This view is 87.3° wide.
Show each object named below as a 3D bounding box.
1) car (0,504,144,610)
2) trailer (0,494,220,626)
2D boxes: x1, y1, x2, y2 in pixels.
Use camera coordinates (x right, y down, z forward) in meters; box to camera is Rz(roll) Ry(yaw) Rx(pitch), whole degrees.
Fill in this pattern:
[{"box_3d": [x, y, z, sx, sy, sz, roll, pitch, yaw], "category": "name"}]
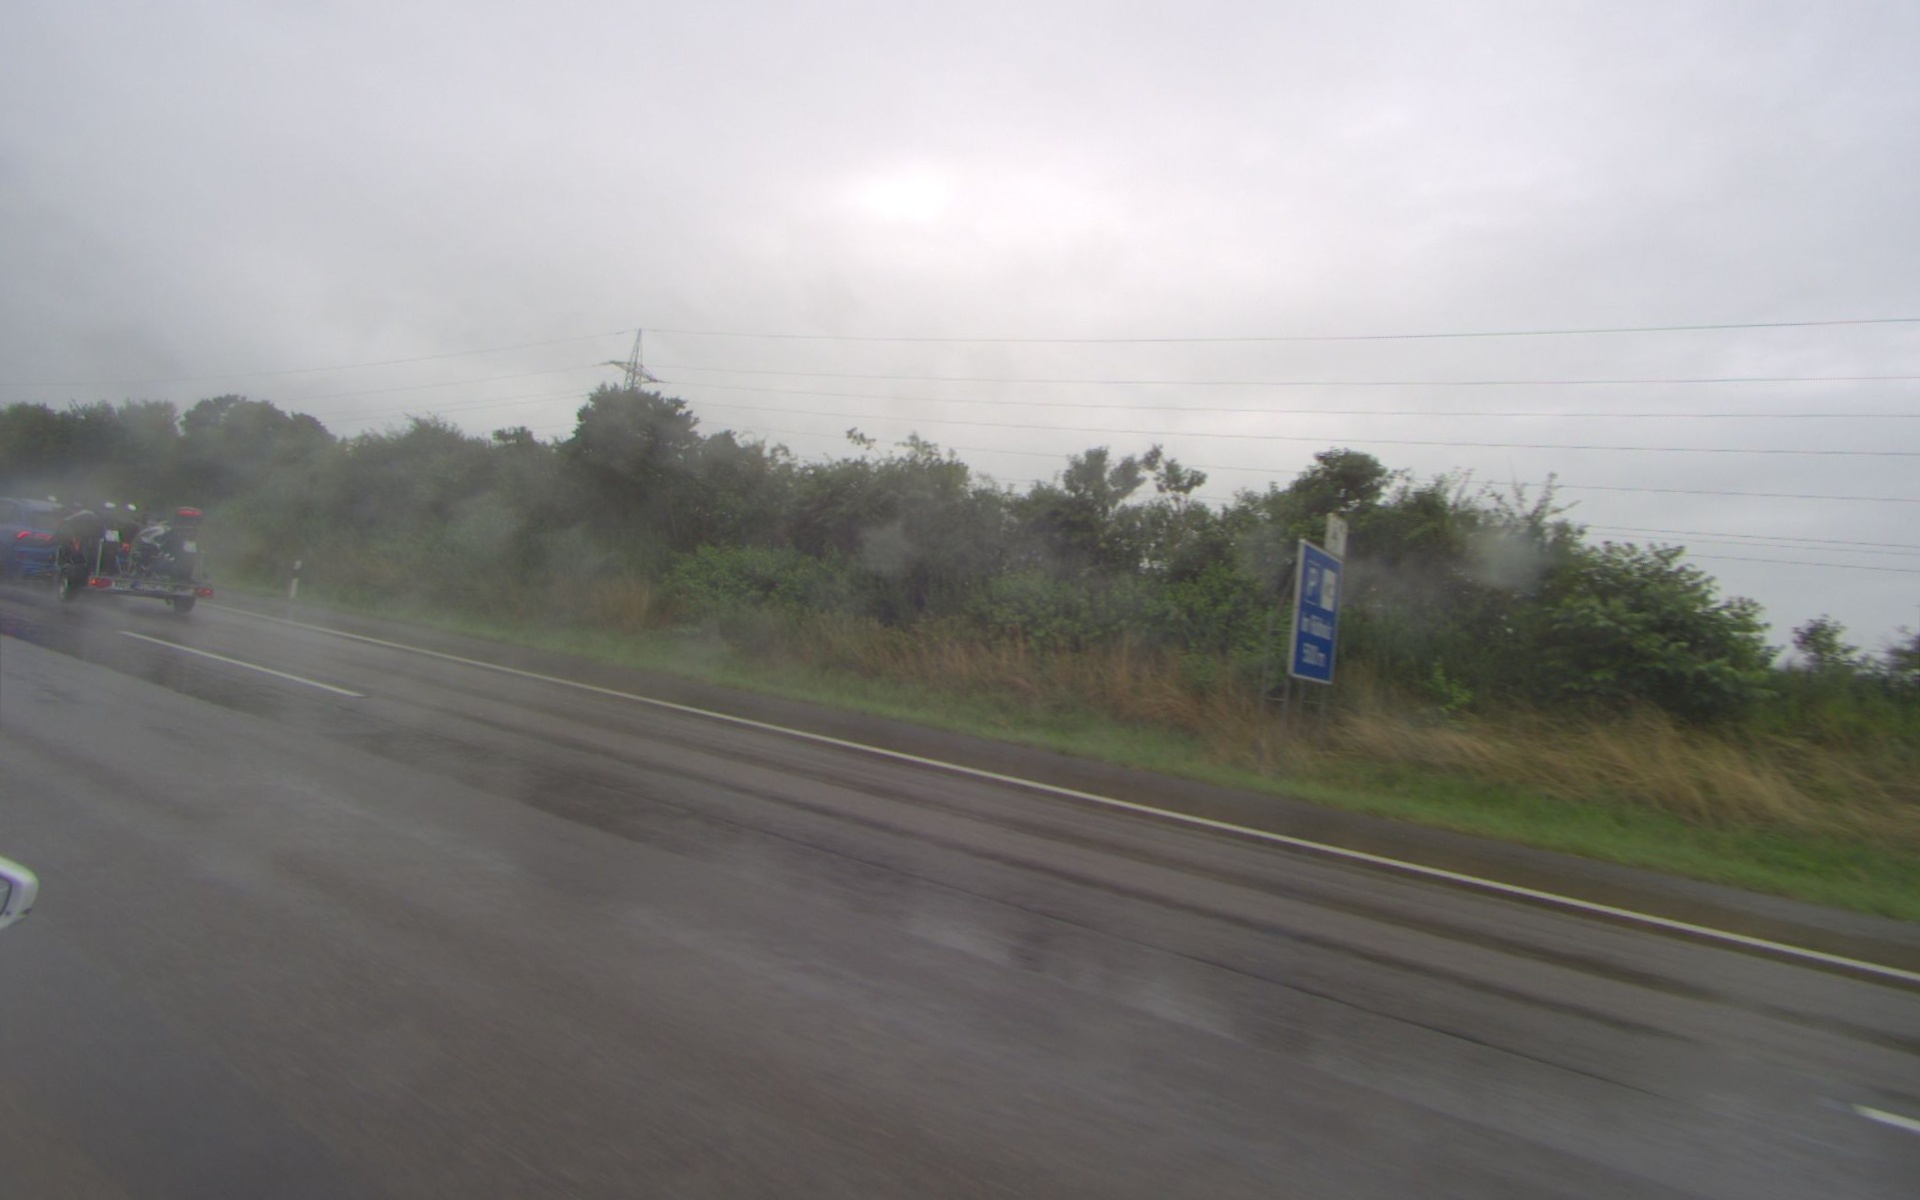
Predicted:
[{"box_3d": [-17.994, -0.927, 19.260, 4.909, 1.638, 1.998, 6, -2, 31], "category": "car"}, {"box_3d": [-14.552, -0.684, 17.111, 3.136, 1.806, 1.983, 6, -2, 31], "category": "trailer"}]
